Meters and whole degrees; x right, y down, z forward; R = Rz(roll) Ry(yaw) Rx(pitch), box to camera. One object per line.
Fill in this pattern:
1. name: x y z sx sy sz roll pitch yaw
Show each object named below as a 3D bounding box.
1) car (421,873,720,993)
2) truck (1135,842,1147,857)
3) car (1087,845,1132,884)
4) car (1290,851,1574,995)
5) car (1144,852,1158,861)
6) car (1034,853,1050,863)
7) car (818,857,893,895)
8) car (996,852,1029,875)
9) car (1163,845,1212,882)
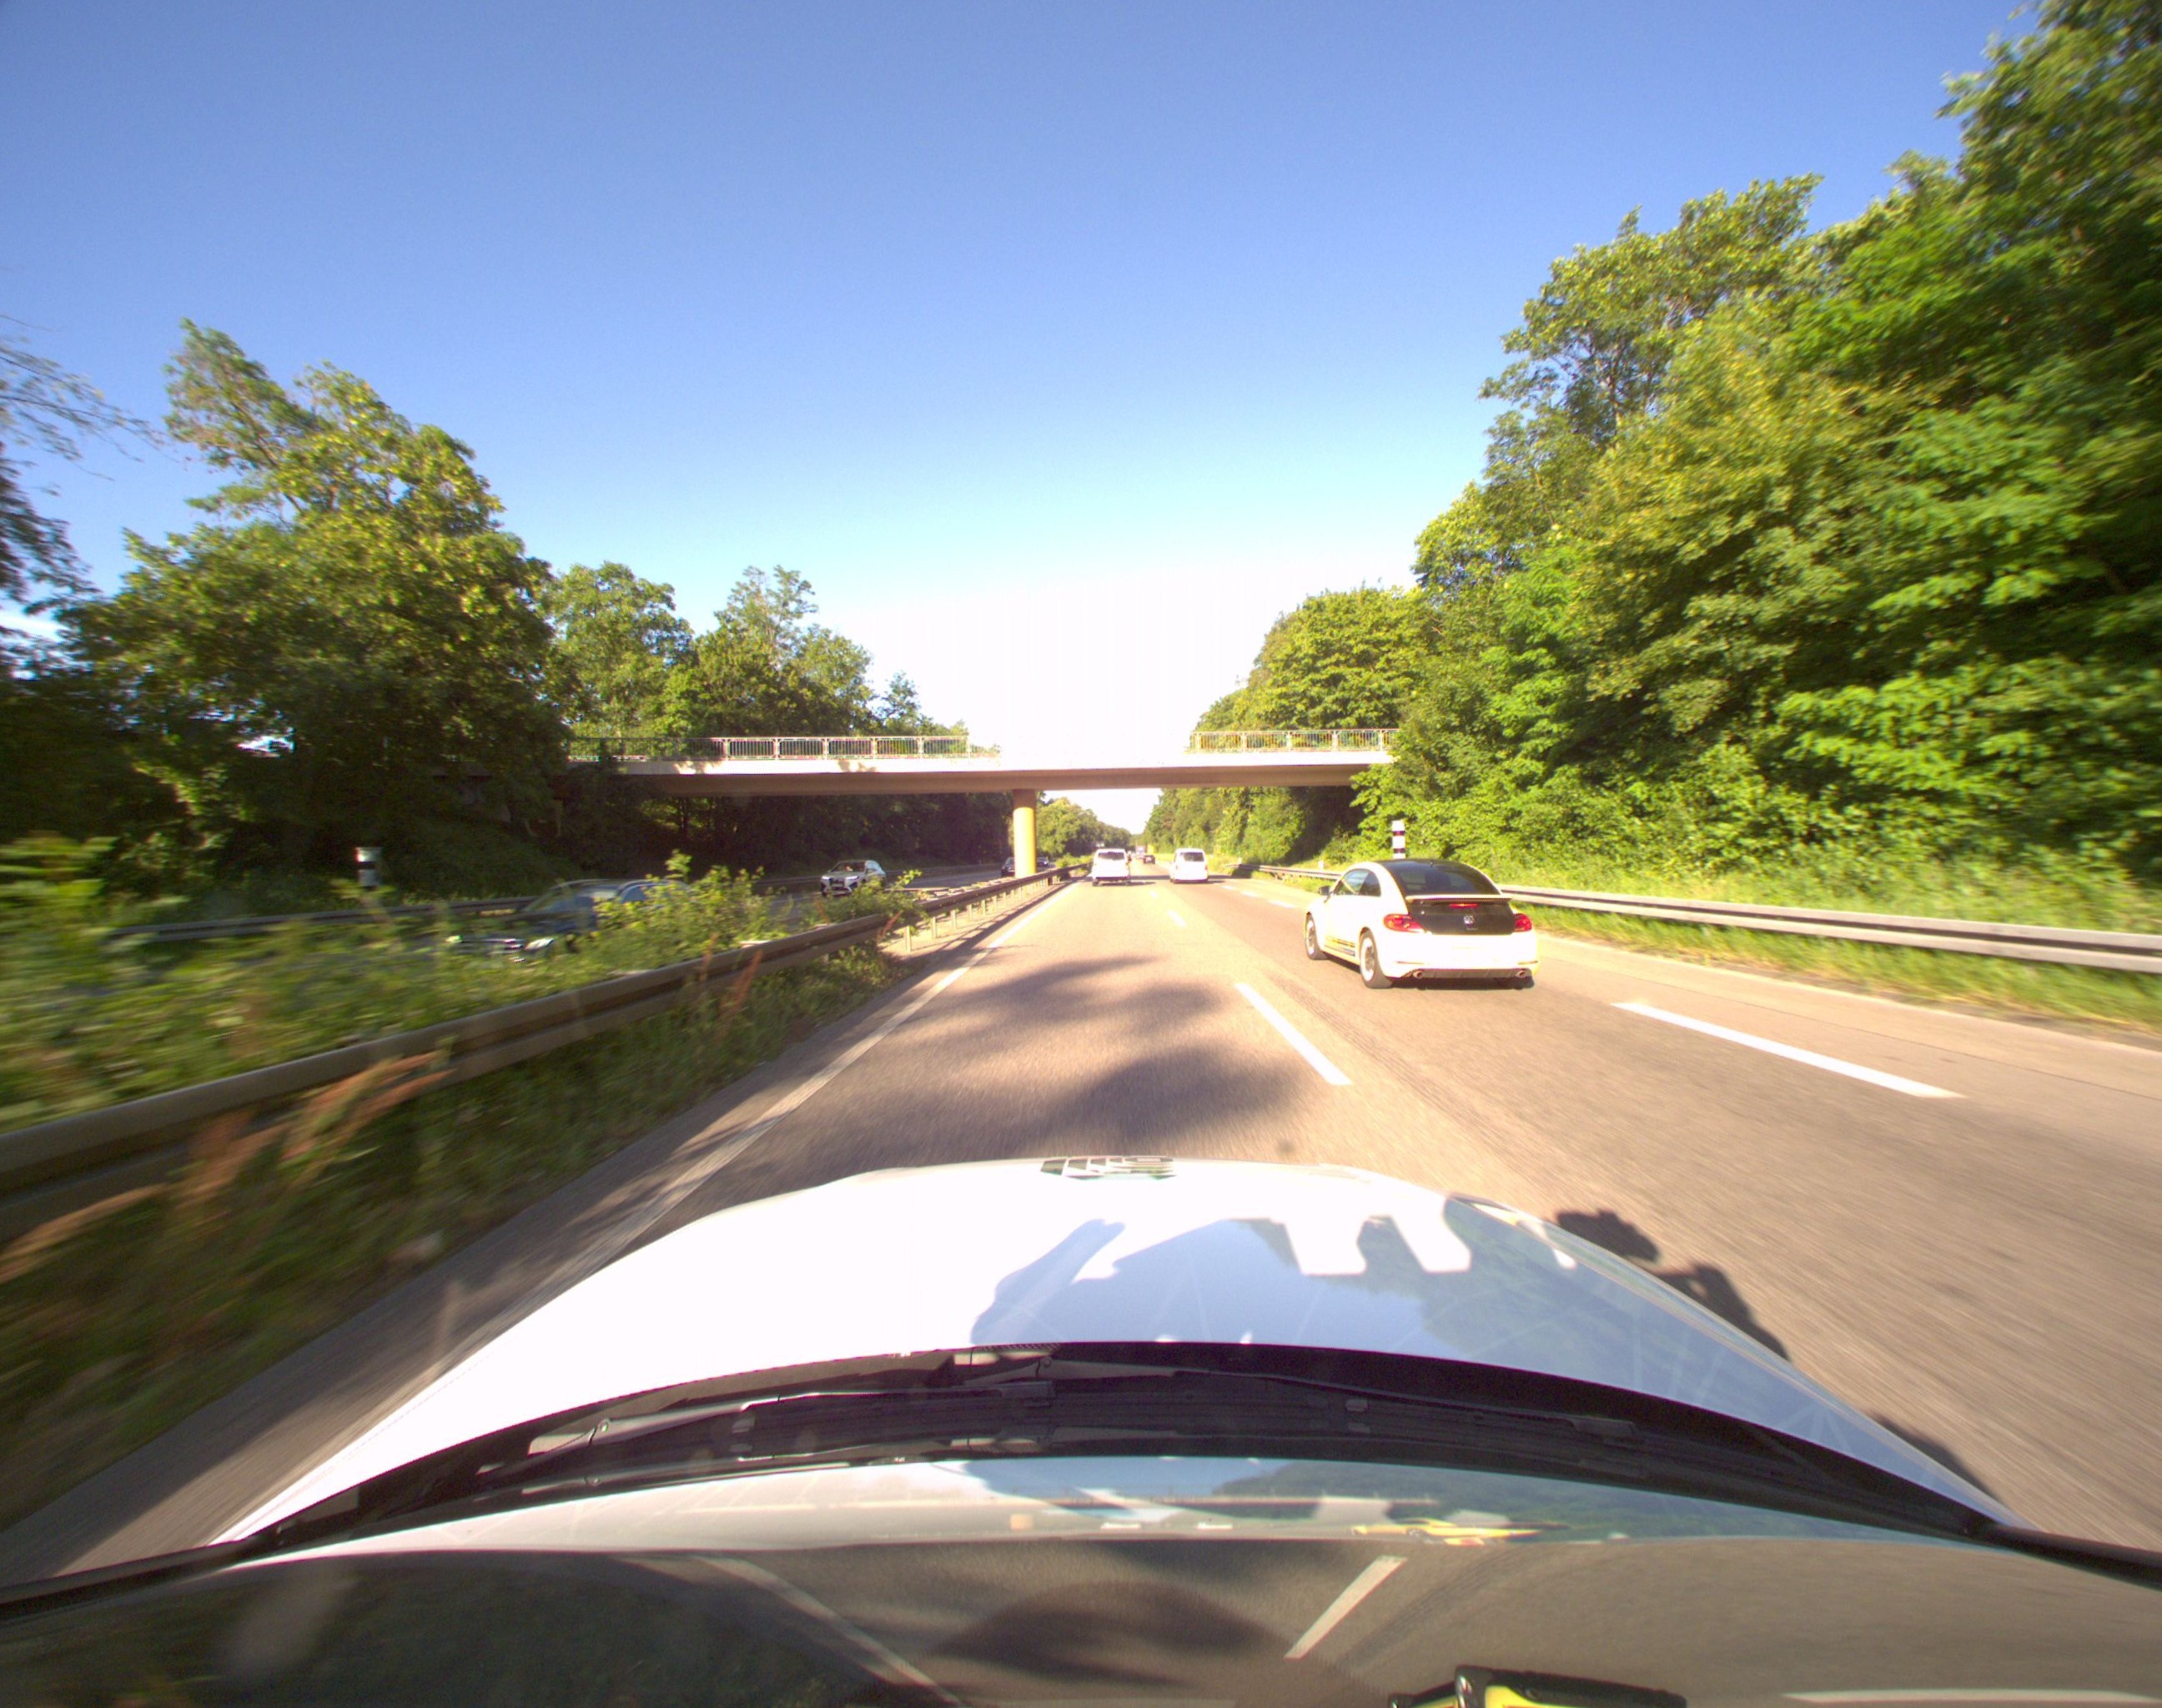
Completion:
1. car: -8.146 1.155 13.688 1.845 1.489 4.787 -2 0 2
2. truck: 18.023 -1.335 246.125 3.481 4.172 8.870 -2 0 3
3. car: 1.394 0.488 40.216 2.077 1.828 4.001 -1 0 1
4. car: 4.175 0.704 10.565 1.873 1.461 4.357 -1 0 1
5. car: 10.606 0.350 123.404 1.985 1.398 4.004 -2 0 3
6. car: -5.929 0.576 124.210 1.953 1.450 4.586 0 0 2
7. car: -10.927 1.020 39.889 1.952 1.659 5.045 -2 0 3
8. car: -5.337 0.729 64.231 1.953 1.724 4.595 -2 0 2
9. car: 5.541 0.455 42.827 1.858 1.770 4.467 -2 0 -1
